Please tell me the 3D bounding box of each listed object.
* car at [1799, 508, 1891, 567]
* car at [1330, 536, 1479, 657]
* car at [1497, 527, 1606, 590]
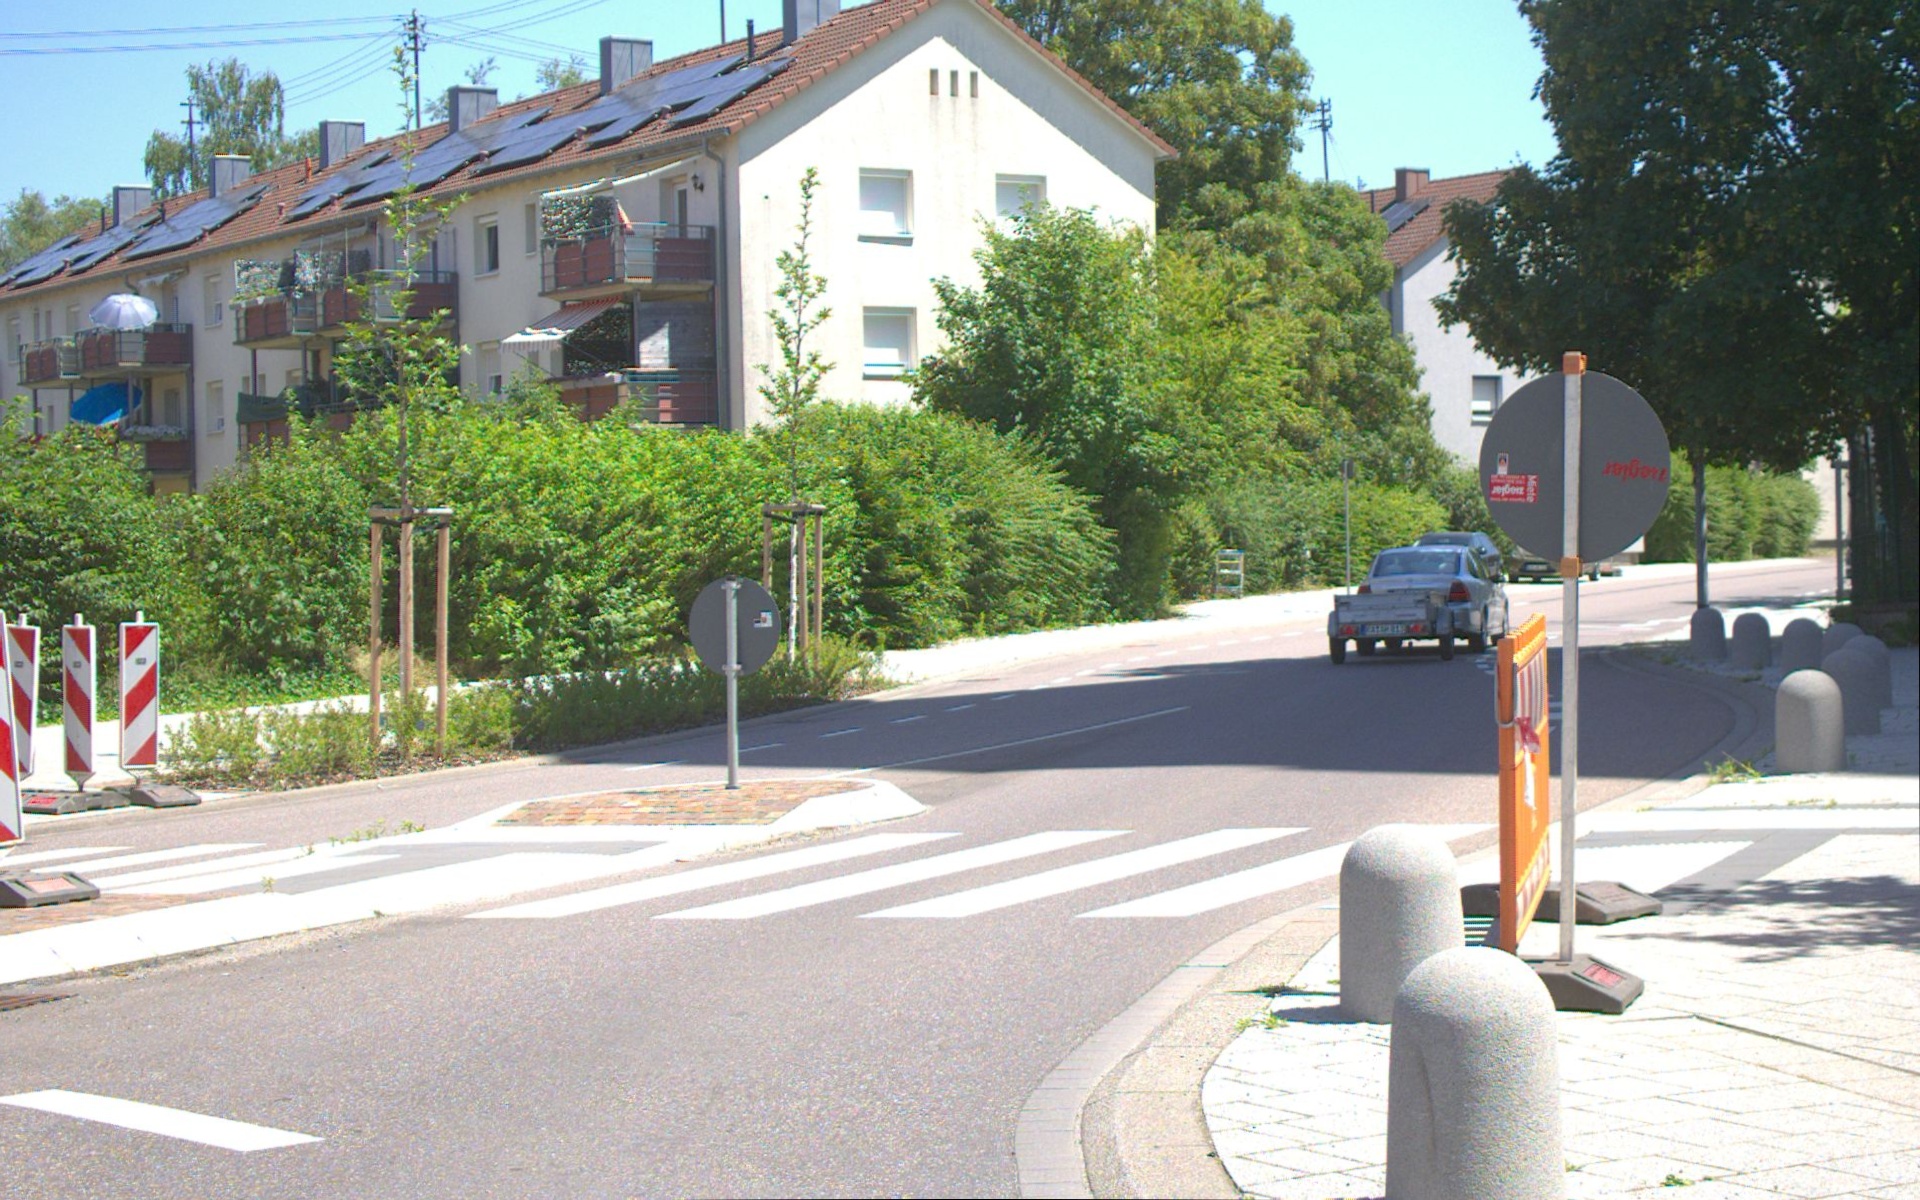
[{"bbox_3d":[23.513,-1.677,91.279,1.741,1.431,3.706,-2,1,24],"label":"car"},{"bbox_3d":[5.928,-0.074,45.533,1.739,1.431,3.709,-3,1,10],"label":"car"},{"bbox_3d":[14.899,-1.051,86.455,1.741,1.431,3.706,-2,1,25],"label":"car"}]
